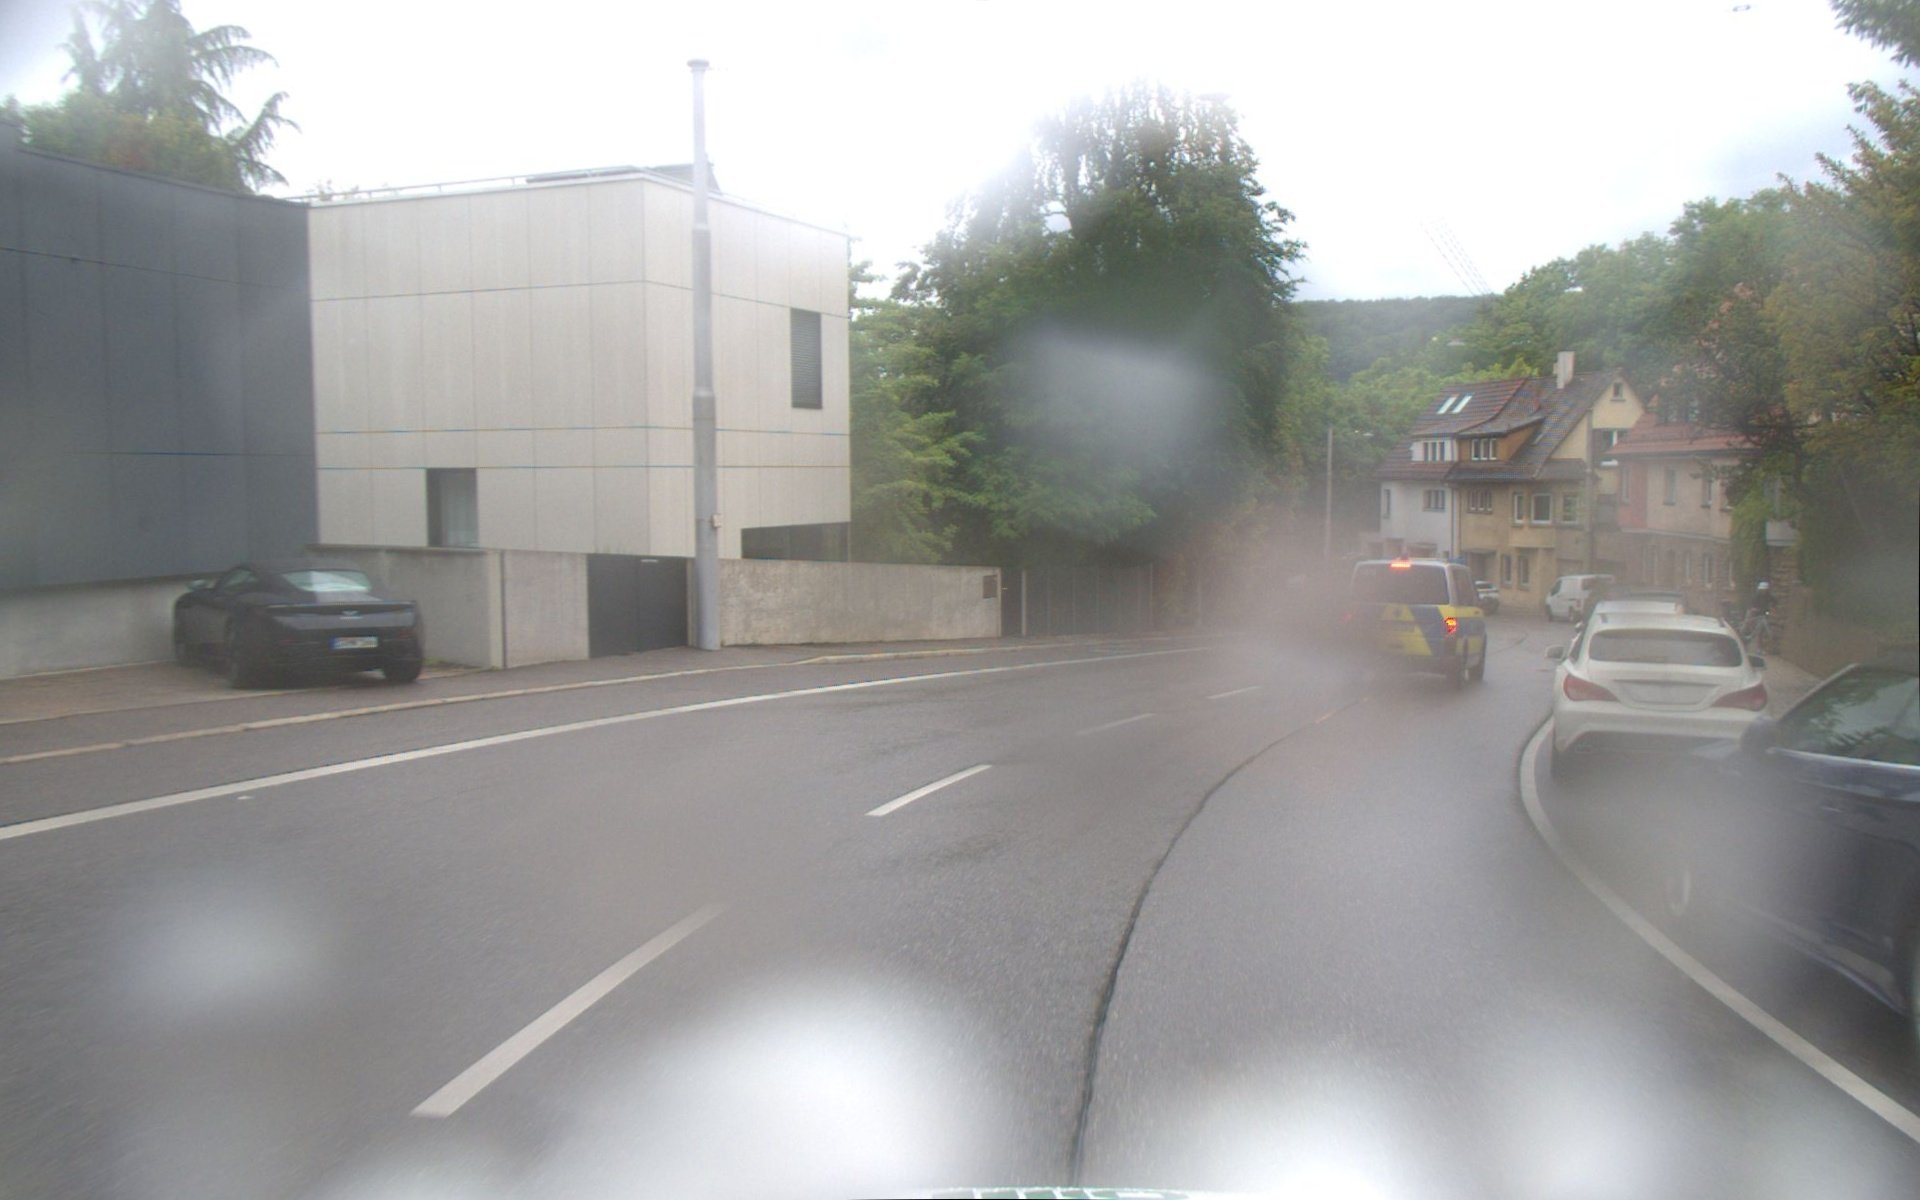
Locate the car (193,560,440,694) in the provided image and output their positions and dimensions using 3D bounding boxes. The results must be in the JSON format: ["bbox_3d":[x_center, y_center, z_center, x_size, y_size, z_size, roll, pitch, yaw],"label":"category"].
[{"bbox_3d":[-7.299,0.220,18.546,1.874,1.324,3.956,0,1,-32],"label":"car"}]

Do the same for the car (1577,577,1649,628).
[{"bbox_3d":[23.989,0.071,60.864,1.580,1.632,4.416,-3,1,11],"label":"car"}]

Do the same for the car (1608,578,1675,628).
[{"bbox_3d":[22.986,0.087,55.889,1.581,1.460,3.585,-3,1,15],"label":"car"}]

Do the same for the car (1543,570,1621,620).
[{"bbox_3d":[24.730,-0.236,65.902,1.669,1.822,4.329,-3,1,4],"label":"car"}]

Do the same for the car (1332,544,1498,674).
[{"bbox_3d":[7.525,0.165,27.061,1.953,1.926,4.568,-1,-1,24],"label":"car"}]

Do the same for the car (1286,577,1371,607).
[{"bbox_3d":[19.011,-0.405,85.399,1.766,1.390,4.144,-4,1,-35],"label":"car"}]

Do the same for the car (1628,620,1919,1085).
[{"bbox_3d":[4.082,0.832,6.247,1.768,1.371,4.624,-2,0,8],"label":"car"}]

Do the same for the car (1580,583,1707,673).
[{"bbox_3d":[12.490,0.448,30.090,1.657,1.480,4.247,1,1,29],"label":"car"}]

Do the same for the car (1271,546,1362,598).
[{"bbox_3d":[19.768,-1.566,91.760,4.321,1.871,1.998,-13,4,-6],"label":"car"}]

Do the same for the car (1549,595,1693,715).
[{"bbox_3d":[9.602,0.715,24.014,1.770,1.480,4.253,1,1,22],"label":"car"}]

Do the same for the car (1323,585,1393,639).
[{"bbox_3d":[12.032,0.330,49.852,1.615,1.444,3.804,3,2,19],"label":"car"}]

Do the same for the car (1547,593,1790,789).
[{"bbox_3d":[6.467,0.730,15.362,1.742,1.460,4.569,-2,0,21],"label":"car"}]

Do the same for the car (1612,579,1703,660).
[{"bbox_3d":[15.135,0.362,35.967,1.698,1.621,4.253,1,1,22],"label":"car"}]

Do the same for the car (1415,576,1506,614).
[{"bbox_3d":[23.134,-0.229,76.565,1.883,1.565,4.394,-4,1,-17],"label":"car"}]

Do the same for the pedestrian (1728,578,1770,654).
[{"bbox_3d":[17.772,0.351,37.266,0.607,1.679,0.614,1,1,-3],"label":"pedestrian"}]
